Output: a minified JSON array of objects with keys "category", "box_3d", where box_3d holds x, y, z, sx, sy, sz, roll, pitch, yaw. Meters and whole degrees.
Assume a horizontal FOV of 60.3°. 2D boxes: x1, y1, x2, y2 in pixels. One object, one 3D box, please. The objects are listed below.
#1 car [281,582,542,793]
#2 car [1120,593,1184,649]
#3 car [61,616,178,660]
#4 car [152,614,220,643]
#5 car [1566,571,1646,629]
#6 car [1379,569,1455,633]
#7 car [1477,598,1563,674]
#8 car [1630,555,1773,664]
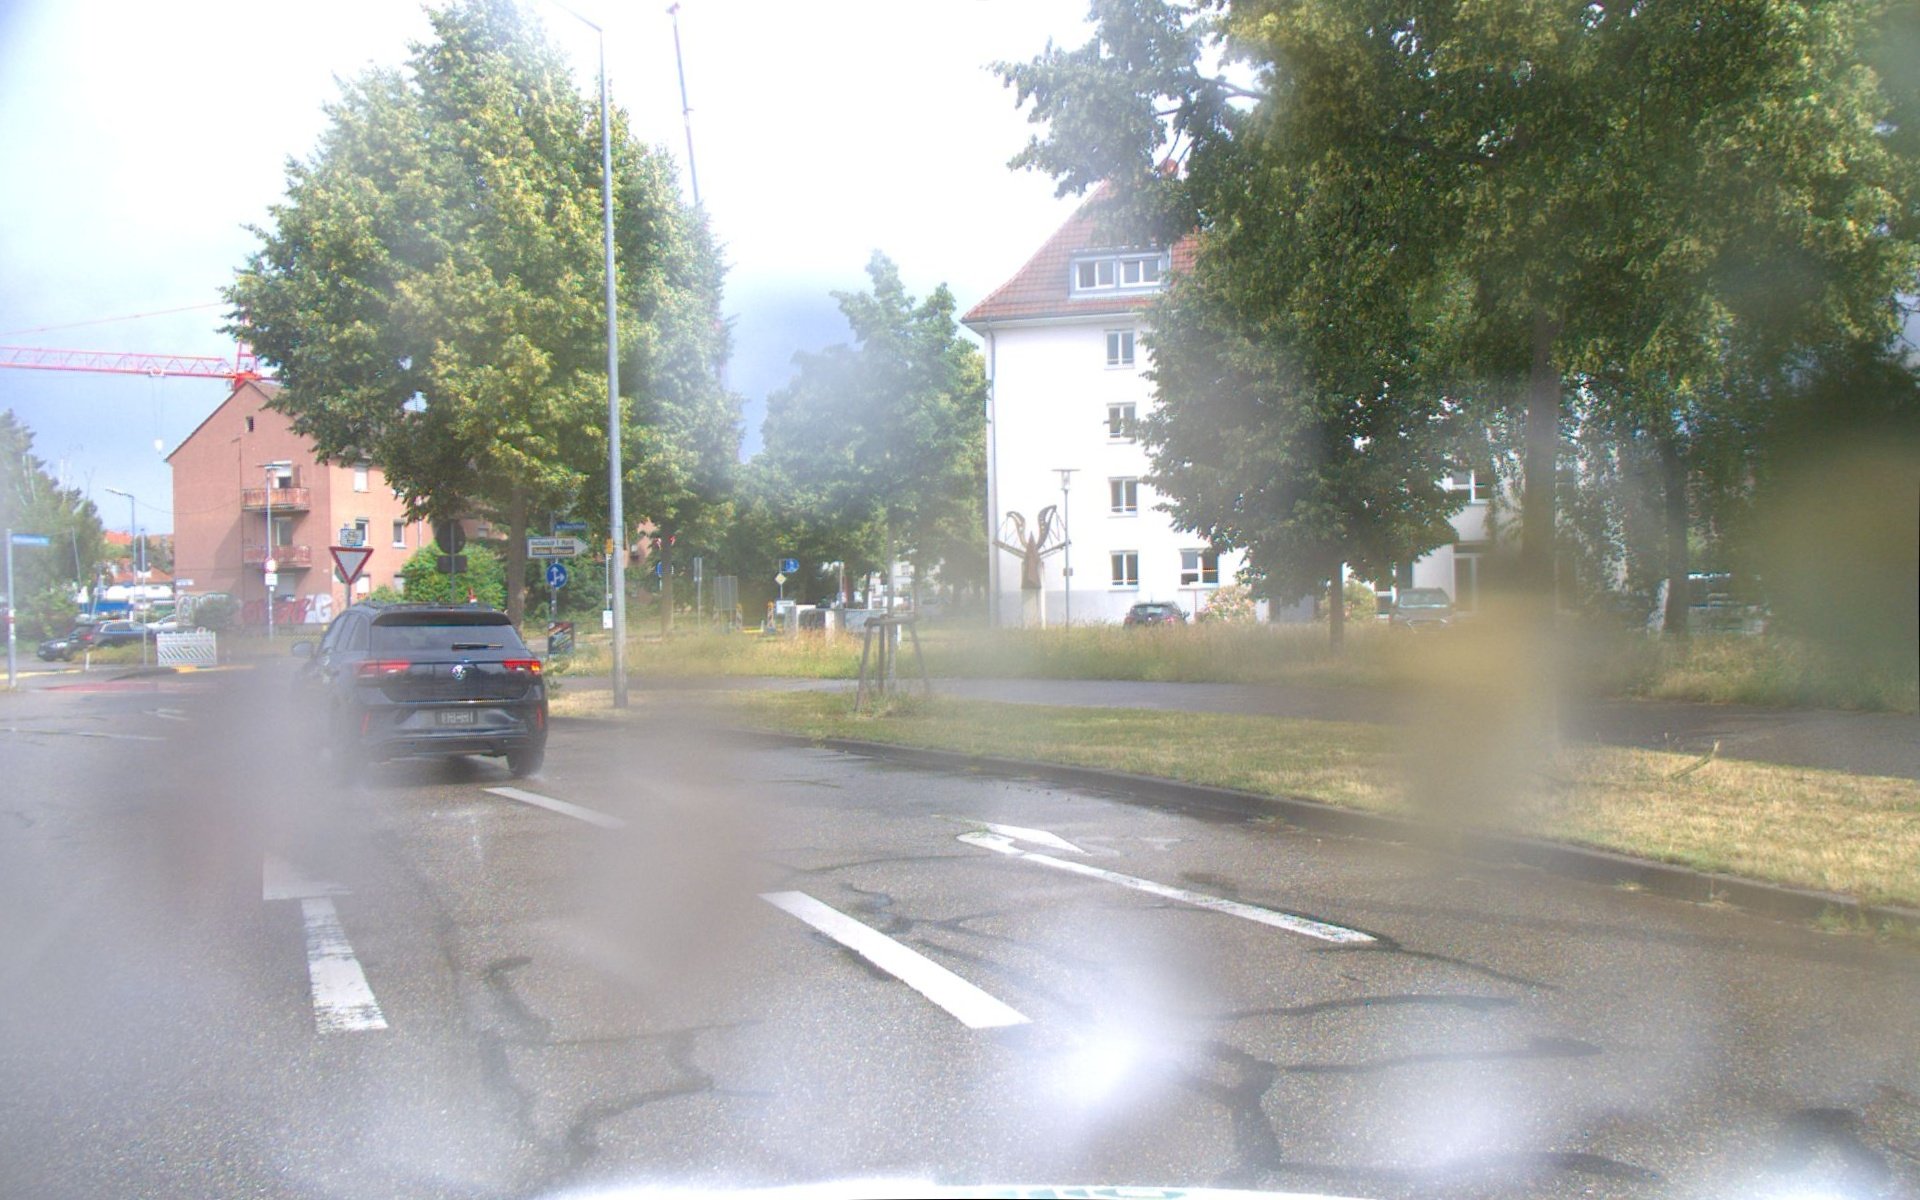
[{"category":"car","box_3d":[-5.265,0.717,15.546,1.873,1.646,3.969,-2,0,-25]},{"category":"car","box_3d":[5.772,0.596,49.399,1.635,1.508,3.743,-2,1,10]},{"category":"car","box_3d":[-34.936,1.574,68.799,4.029,1.661,1.590,-2,0,-45]},{"category":"car","box_3d":[-45.453,1.667,97.226,3.461,1.545,1.606,-2,0,-22]},{"category":"car","box_3d":[17.950,-0.034,46.069,1.623,1.368,3.585,-2,3,15]},{"category":"car","box_3d":[13.051,0.001,47.420,1.806,1.579,4.111,-2,2,12]},{"category":"car","box_3d":[12.135,0.750,35.992,1.569,1.536,3.623,-1,0,16]},{"category":"car","box_3d":[15.706,0.138,35.299,2.062,2.093,5.165,-2,1,17]}]
